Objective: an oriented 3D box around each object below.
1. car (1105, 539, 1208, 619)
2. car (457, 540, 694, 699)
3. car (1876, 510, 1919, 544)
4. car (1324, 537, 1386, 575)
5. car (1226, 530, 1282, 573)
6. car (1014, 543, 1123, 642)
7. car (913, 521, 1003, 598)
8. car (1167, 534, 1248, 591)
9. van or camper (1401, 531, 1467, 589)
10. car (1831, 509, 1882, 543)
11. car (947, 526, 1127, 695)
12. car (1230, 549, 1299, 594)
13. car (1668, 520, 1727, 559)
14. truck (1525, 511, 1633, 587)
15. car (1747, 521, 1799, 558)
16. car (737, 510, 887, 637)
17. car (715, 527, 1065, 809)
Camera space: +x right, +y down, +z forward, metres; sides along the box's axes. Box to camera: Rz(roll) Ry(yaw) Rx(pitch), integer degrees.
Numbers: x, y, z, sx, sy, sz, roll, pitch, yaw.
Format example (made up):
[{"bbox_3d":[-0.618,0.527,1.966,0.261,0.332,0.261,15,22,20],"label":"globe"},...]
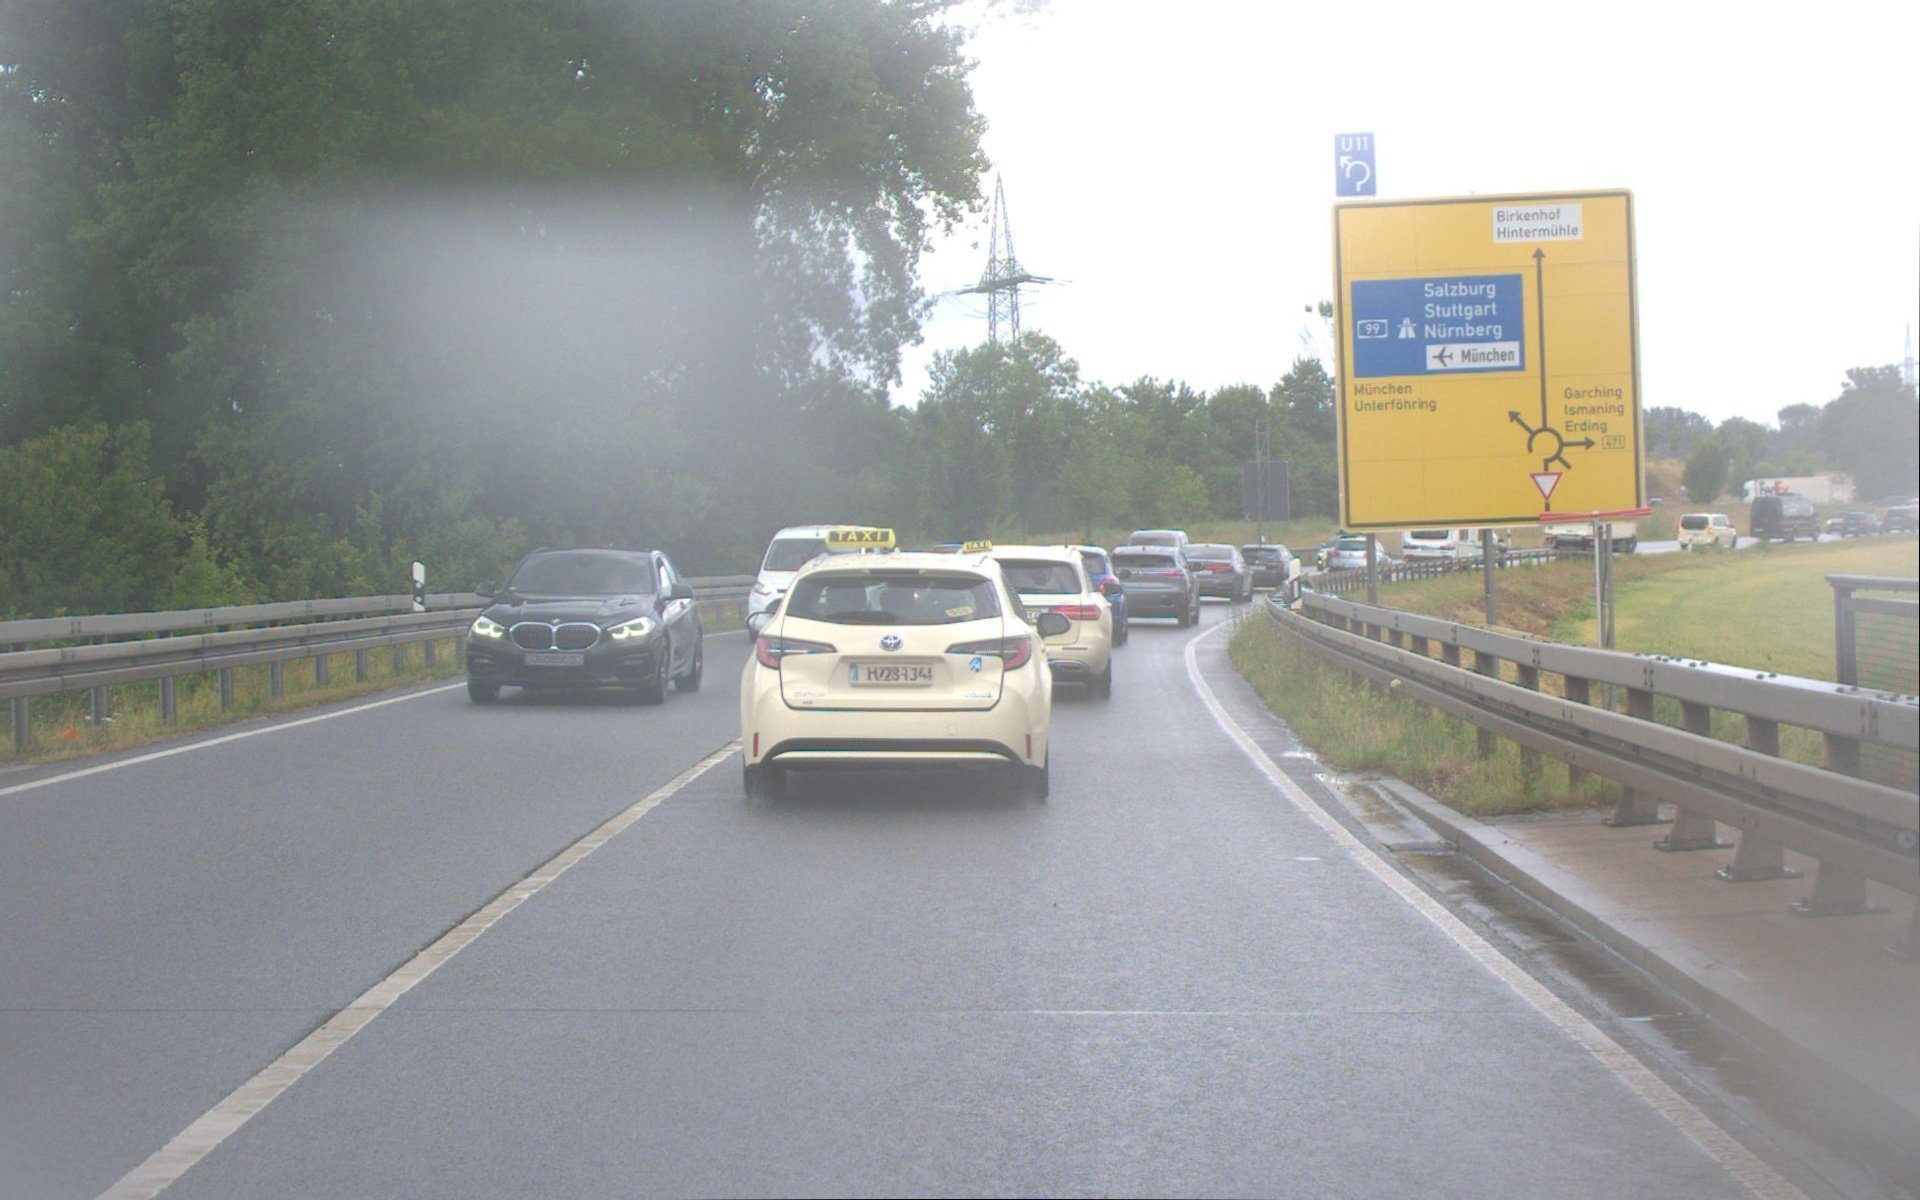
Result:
[{"bbox_3d":[3.690,-0.411,64.273,1.665,1.459,3.476,0,1,8],"label":"car"},{"bbox_3d":[-3.564,0.142,32.500,1.696,1.395,4.332,0,1,1],"label":"car"},{"bbox_3d":[58.516,-4.549,214.284,1.996,2.007,3.995,1,0,25],"label":"car"},{"bbox_3d":[13.872,-1.555,120.667,1.484,1.304,3.474,0,1,18],"label":"car"},{"bbox_3d":[11.789,-1.929,137.716,1.518,1.715,3.418,1,0,17],"label":"car"},{"bbox_3d":[1.607,-0.140,51.792,1.506,1.432,3.356,0,1,0],"label":"car"},{"bbox_3d":[-0.014,-0.861,71.274,1.610,1.481,4.000,0,2,4],"label":"car"},{"bbox_3d":[6.325,-0.947,87.584,1.661,1.404,3.902,0,0,10],"label":"car"},{"bbox_3d":[18.718,-1.586,135.705,1.995,2.246,3.997,1,0,16],"label":"van or camper"},{"bbox_3d":[53.993,-4.465,206.993,2.229,2.007,3.995,1,0,25],"label":"car"},{"bbox_3d":[0.804,0.068,33.743,1.578,1.567,3.681,0,1,4],"label":"car"},{"bbox_3d":[9.100,-0.861,102.662,1.483,1.304,3.474,0,1,15],"label":"car"},{"bbox_3d":[39.301,-3.204,183.120,2.170,2.007,3.994,1,0,26],"label":"car"},{"bbox_3d":[29.480,-2.395,163.425,3.144,3.550,7.511,1,0,25],"label":"truck"},{"bbox_3d":[45.967,-3.419,194.289,1.996,2.007,3.994,1,0,26],"label":"car"},{"bbox_3d":[-2.245,-0.452,53.373,1.862,1.885,4.489,0,2,4],"label":"car"},{"bbox_3d":[-0.323,0.337,20.821,1.906,1.532,4.161,0,1,2],"label":"car"}]
